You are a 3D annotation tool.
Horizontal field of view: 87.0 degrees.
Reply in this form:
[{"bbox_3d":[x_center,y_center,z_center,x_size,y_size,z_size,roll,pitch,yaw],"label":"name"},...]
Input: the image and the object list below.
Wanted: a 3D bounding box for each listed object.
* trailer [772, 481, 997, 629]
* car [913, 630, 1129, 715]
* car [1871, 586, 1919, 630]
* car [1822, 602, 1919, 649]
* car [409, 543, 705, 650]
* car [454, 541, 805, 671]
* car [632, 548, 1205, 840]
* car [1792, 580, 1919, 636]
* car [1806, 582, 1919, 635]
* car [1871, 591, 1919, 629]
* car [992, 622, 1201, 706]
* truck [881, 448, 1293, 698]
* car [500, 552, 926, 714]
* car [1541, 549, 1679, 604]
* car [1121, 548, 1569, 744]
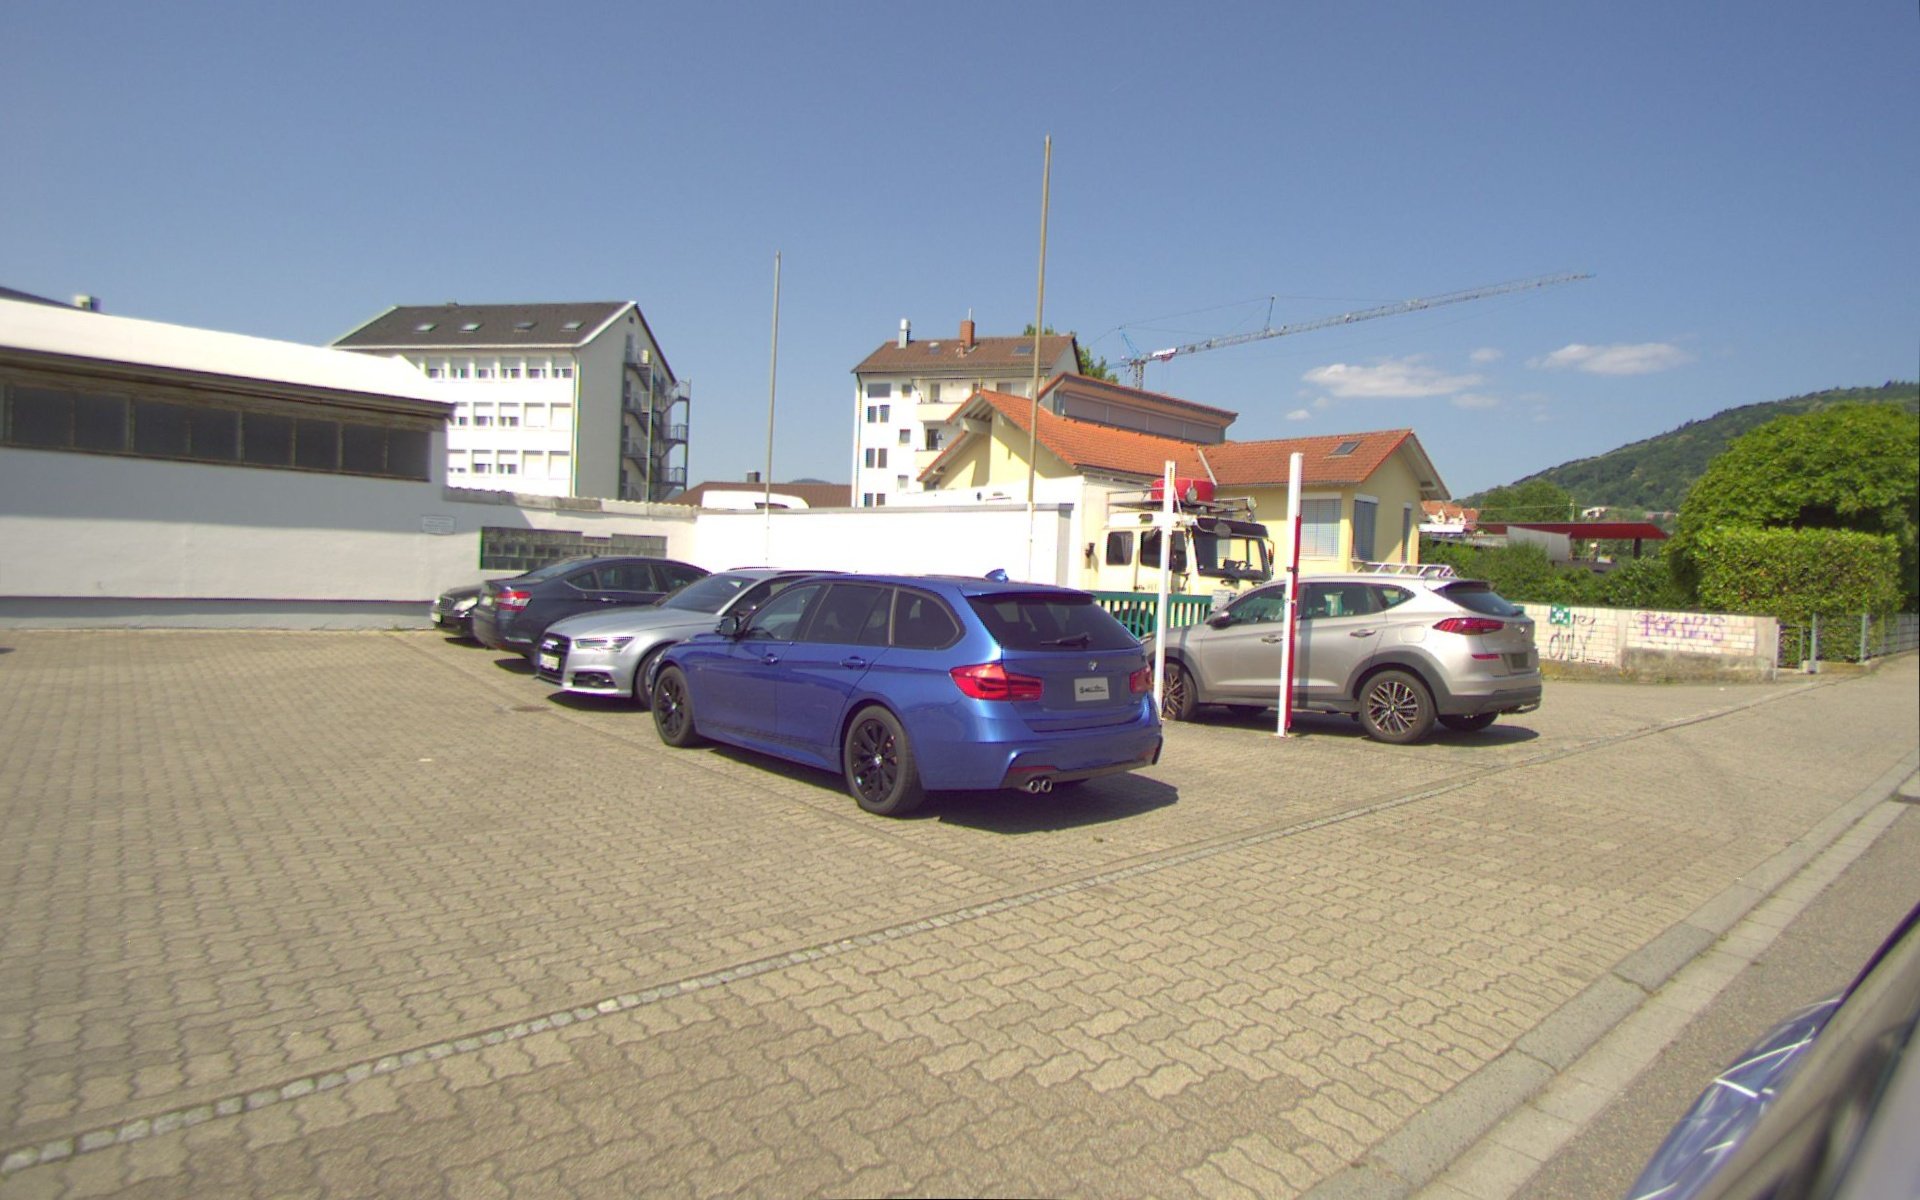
[{"bbox_3d":[-2.606,-1.387,31.039,3.009,3.910,8.365,0,3,-35],"label":"trailer"},{"bbox_3d":[0.737,0.905,13.521,1.264,0.926,2.902,1,-1,-39],"label":"car"},{"bbox_3d":[38.638,0.377,39.898,1.729,1.644,3.810,1,2,-41],"label":"car"},{"bbox_3d":[34.287,0.957,36.671,1.864,1.515,4.412,0,3,-41],"label":"car"},{"bbox_3d":[-6.264,-0.079,15.873,3.952,1.409,1.892,0,4,-37],"label":"car"},{"bbox_3d":[-4.396,0.037,13.705,4.110,1.459,1.892,0,4,-38],"label":"car"},{"bbox_3d":[-0.602,0.402,7.384,1.859,1.459,4.362,1,2,-41],"label":"car"},{"bbox_3d":[30.475,0.255,33.404,1.812,1.673,4.410,0,3,-42],"label":"car"},{"bbox_3d":[32.322,0.323,34.997,1.865,1.546,4.411,-1,5,-42],"label":"car"},{"bbox_3d":[36.594,0.422,37.860,1.532,1.351,3.556,1,3,-41],"label":"car"},{"bbox_3d":[1.876,0.845,14.453,1.264,1.016,2.902,1,-1,-39],"label":"car"},{"bbox_3d":[1.796,-0.356,17.749,2.482,3.467,7.532,0,-1,-40],"label":"truck"},{"bbox_3d":[-2.656,0.273,11.592,4.381,1.459,1.888,0,3,-44],"label":"car"},{"bbox_3d":[35.146,-1.320,54.998,5.963,2.711,2.239,3,3,28],"label":"car"},{"bbox_3d":[3.946,0.442,10.979,1.736,1.703,4.207,0,-1,-41],"label":"car"}]
